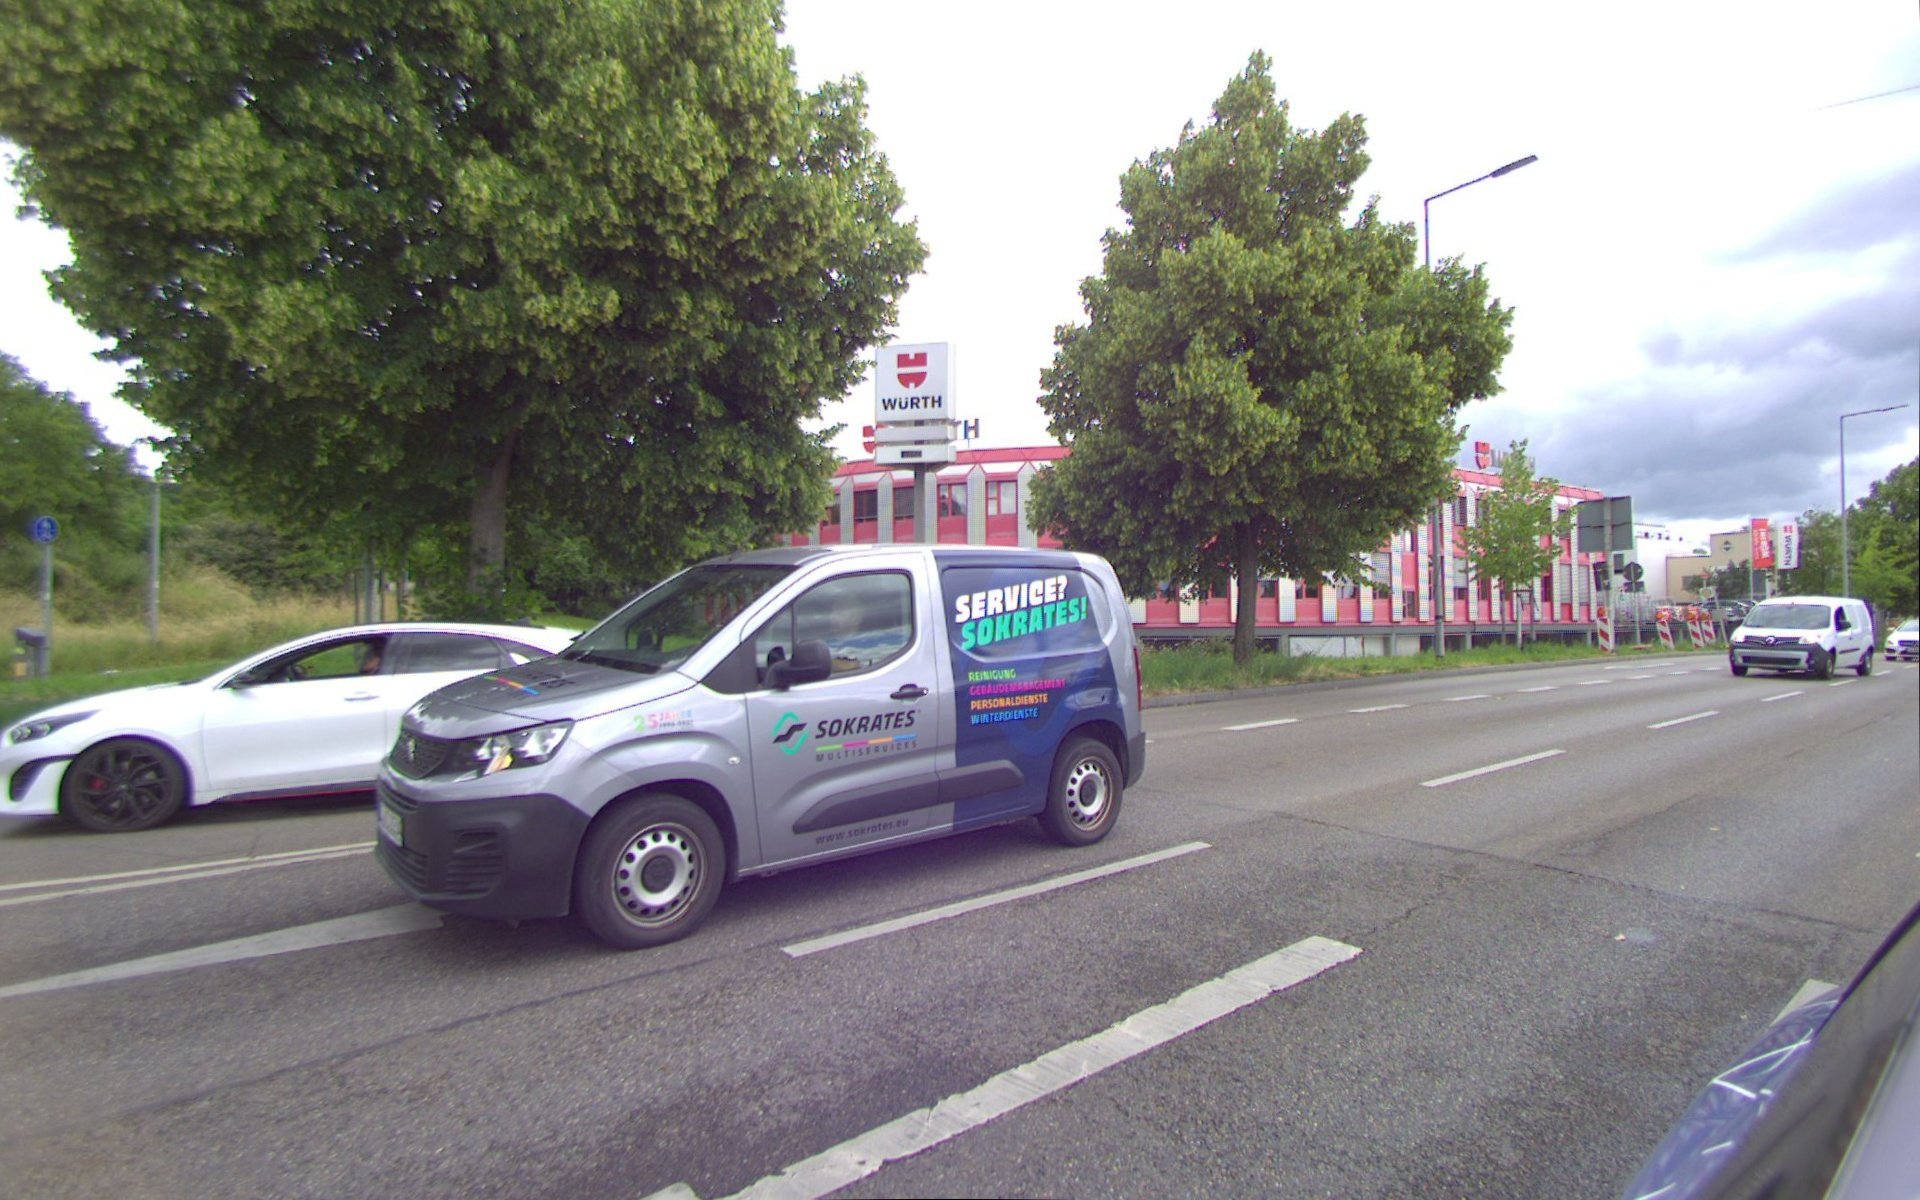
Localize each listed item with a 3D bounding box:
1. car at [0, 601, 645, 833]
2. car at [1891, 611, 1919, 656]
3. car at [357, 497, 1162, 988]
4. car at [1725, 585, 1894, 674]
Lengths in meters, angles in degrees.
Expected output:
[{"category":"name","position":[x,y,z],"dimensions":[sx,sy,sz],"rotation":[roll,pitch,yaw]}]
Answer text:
[{"category":"car","position":[-4.981,0.780,8.140],"dimensions":[4.422,1.438,1.838],"rotation":[-1,-2,-27]},{"category":"car","position":[32.399,1.164,33.268],"dimensions":[4.141,1.358,1.814],"rotation":[4,-2,-35]},{"category":"car","position":[-0.885,0.508,5.753],"dimensions":[4.147,1.802,1.812],"rotation":[0,0,-40]},{"category":"car","position":[19.238,0.644,22.859],"dimensions":[4.607,1.815,1.814],"rotation":[1,-1,-35]}]
